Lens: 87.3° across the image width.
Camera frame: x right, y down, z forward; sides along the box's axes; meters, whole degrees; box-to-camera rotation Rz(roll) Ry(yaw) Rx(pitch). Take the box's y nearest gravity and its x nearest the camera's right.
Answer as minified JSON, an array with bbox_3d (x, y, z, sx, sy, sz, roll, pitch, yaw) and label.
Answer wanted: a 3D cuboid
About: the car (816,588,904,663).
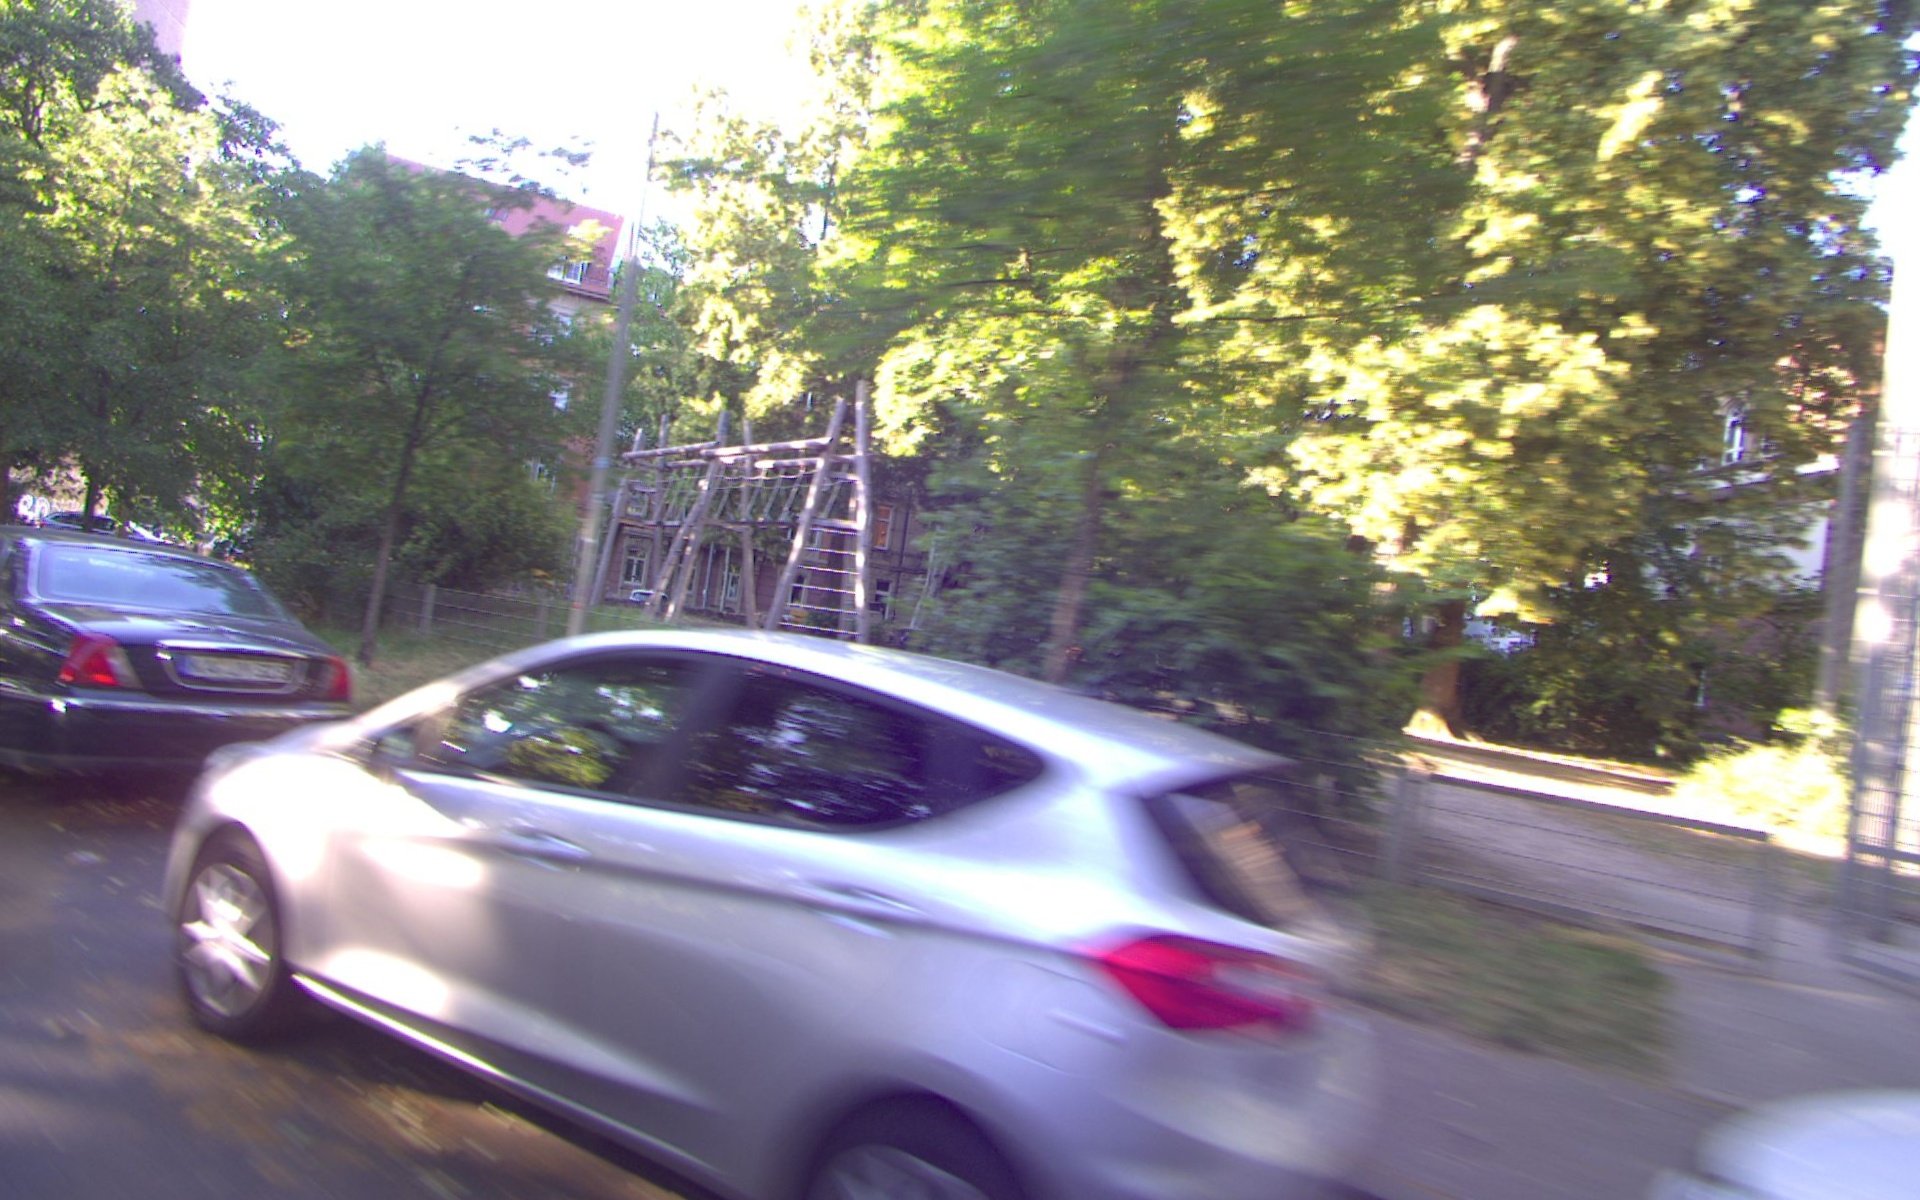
[{"bbox_3d":[-4.029,0.981,39.612,2.336,2.483,5.496,8,-2,-15],"label":"car"}]

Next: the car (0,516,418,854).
[{"bbox_3d":[-5.619,0.269,6.315,4.581,1.440,1.685,7,-3,31],"label":"car"}]

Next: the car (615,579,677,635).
[{"bbox_3d":[-11.570,0.321,37.286,1.759,1.507,4.399,9,-6,-13],"label":"car"}]

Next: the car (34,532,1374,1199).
[{"bbox_3d":[-0.919,0.802,3.317,4.004,1.470,1.686,7,-3,26],"label":"car"}]

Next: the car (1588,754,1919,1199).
[{"bbox_3d":[3.026,1.242,0.922,4.007,1.470,1.685,7,-3,30],"label":"car"}]

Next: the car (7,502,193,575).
[{"bbox_3d":[-28.654,-1.999,33.655,4.209,1.567,1.741,8,-5,-14],"label":"car"}]

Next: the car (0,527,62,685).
[{"bbox_3d":[-10.182,-0.212,9.129,4.214,1.297,1.685,7,-3,30],"label":"car"}]

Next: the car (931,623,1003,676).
[{"bbox_3d":[0.226,1.956,40.965,1.968,1.803,3.994,8,-2,-11],"label":"car"}]
